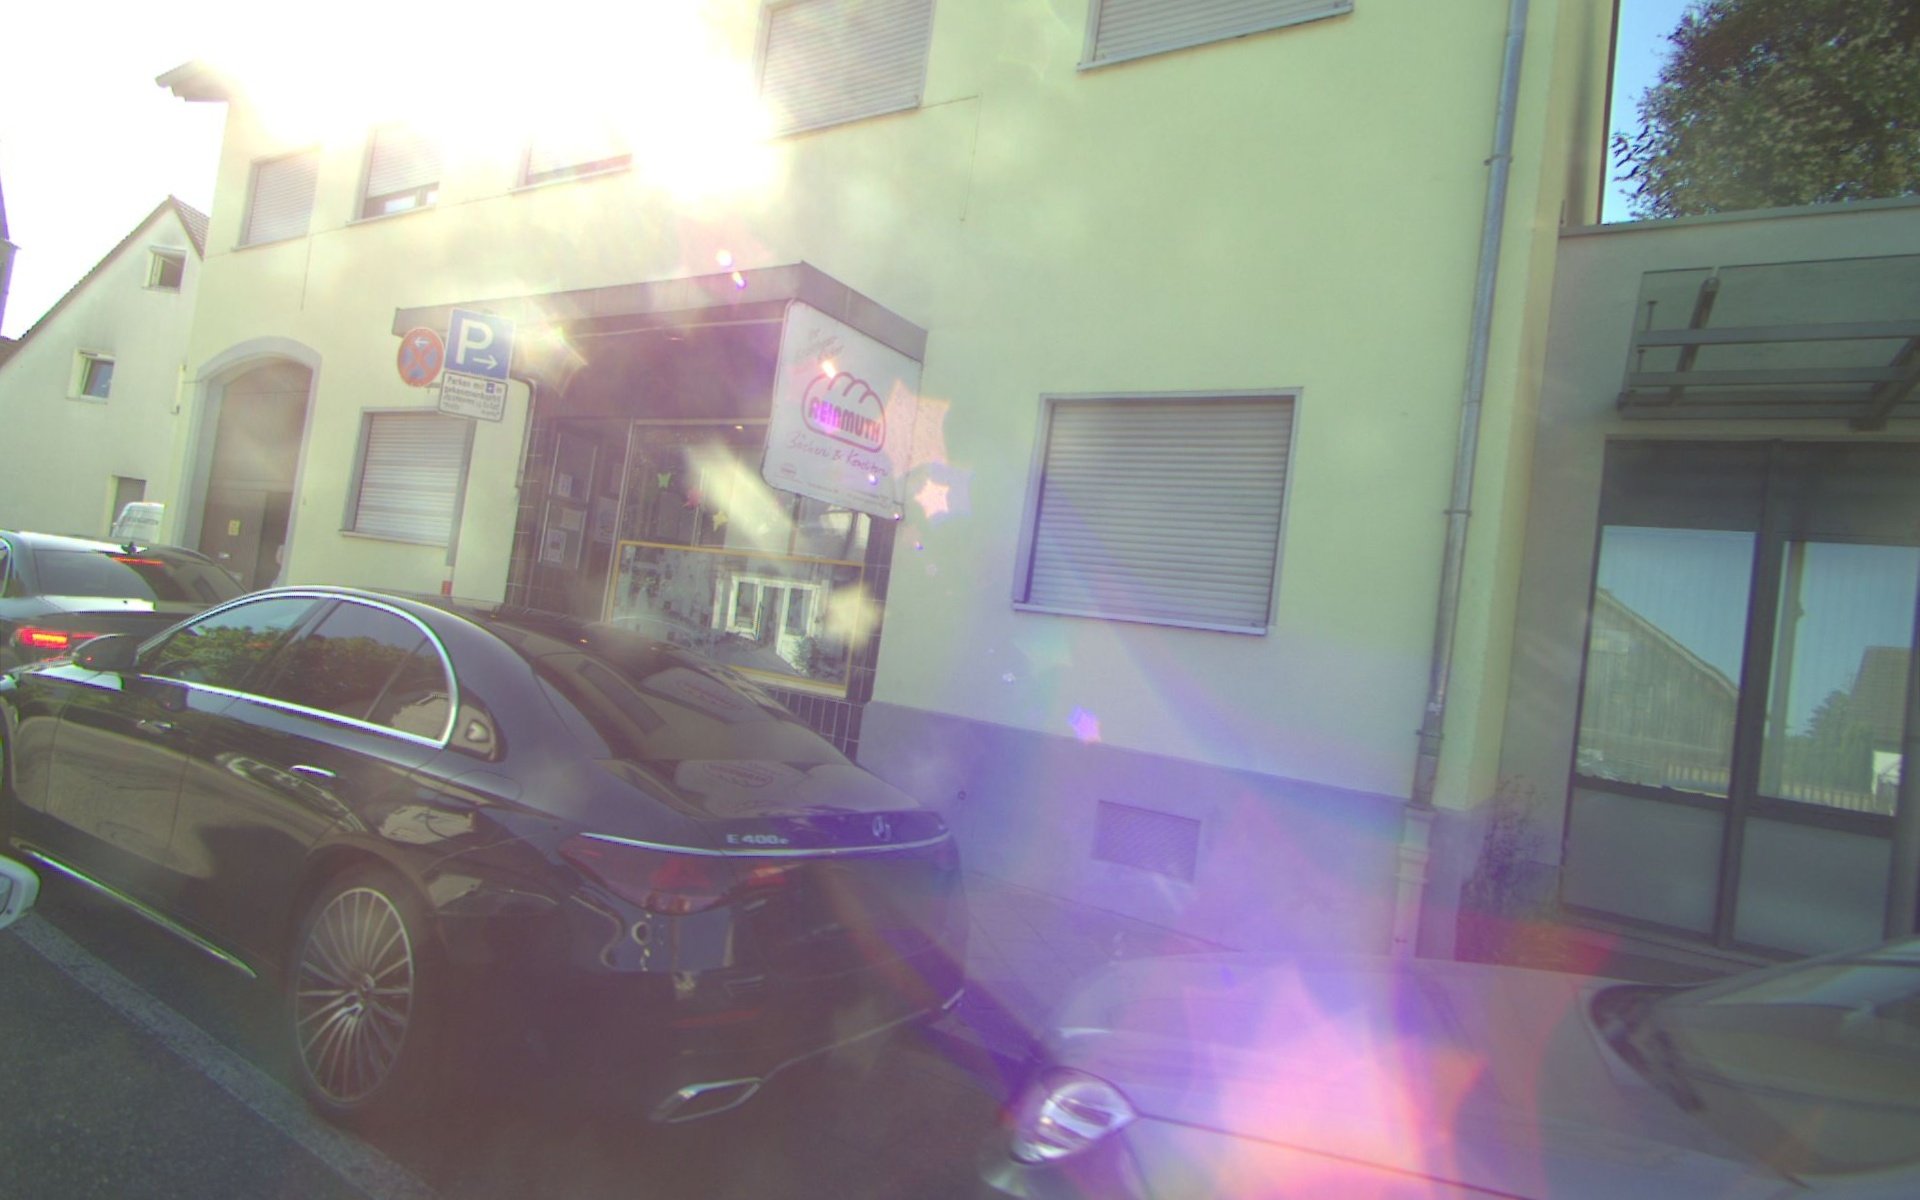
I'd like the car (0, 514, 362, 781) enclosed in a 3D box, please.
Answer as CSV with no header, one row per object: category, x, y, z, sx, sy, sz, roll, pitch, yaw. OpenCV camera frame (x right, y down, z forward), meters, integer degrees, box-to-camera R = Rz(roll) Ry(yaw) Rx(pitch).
car,-6.912,0.194,7.769,4.764,1.490,1.814,7,-5,32

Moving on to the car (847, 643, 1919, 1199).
car,2.133,1.174,1.571,4.370,1.490,1.815,7,-5,31

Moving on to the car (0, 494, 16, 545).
car,-34.134,-3.016,33.114,1.876,1.707,4.055,8,-2,5

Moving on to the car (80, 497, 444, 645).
car,-11.866,-0.377,17.552,1.875,1.909,4.776,7,-1,26

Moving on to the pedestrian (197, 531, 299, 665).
pedestrian,-9.048,-0.019,12.786,0.757,1.568,0.566,7,-3,29

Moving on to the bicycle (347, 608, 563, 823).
bicycle,-3.409,0.732,6.748,1.483,1.171,0.508,6,-1,34

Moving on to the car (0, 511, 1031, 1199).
car,-2.315,0.662,4.111,4.764,1.490,1.814,7,-5,32
